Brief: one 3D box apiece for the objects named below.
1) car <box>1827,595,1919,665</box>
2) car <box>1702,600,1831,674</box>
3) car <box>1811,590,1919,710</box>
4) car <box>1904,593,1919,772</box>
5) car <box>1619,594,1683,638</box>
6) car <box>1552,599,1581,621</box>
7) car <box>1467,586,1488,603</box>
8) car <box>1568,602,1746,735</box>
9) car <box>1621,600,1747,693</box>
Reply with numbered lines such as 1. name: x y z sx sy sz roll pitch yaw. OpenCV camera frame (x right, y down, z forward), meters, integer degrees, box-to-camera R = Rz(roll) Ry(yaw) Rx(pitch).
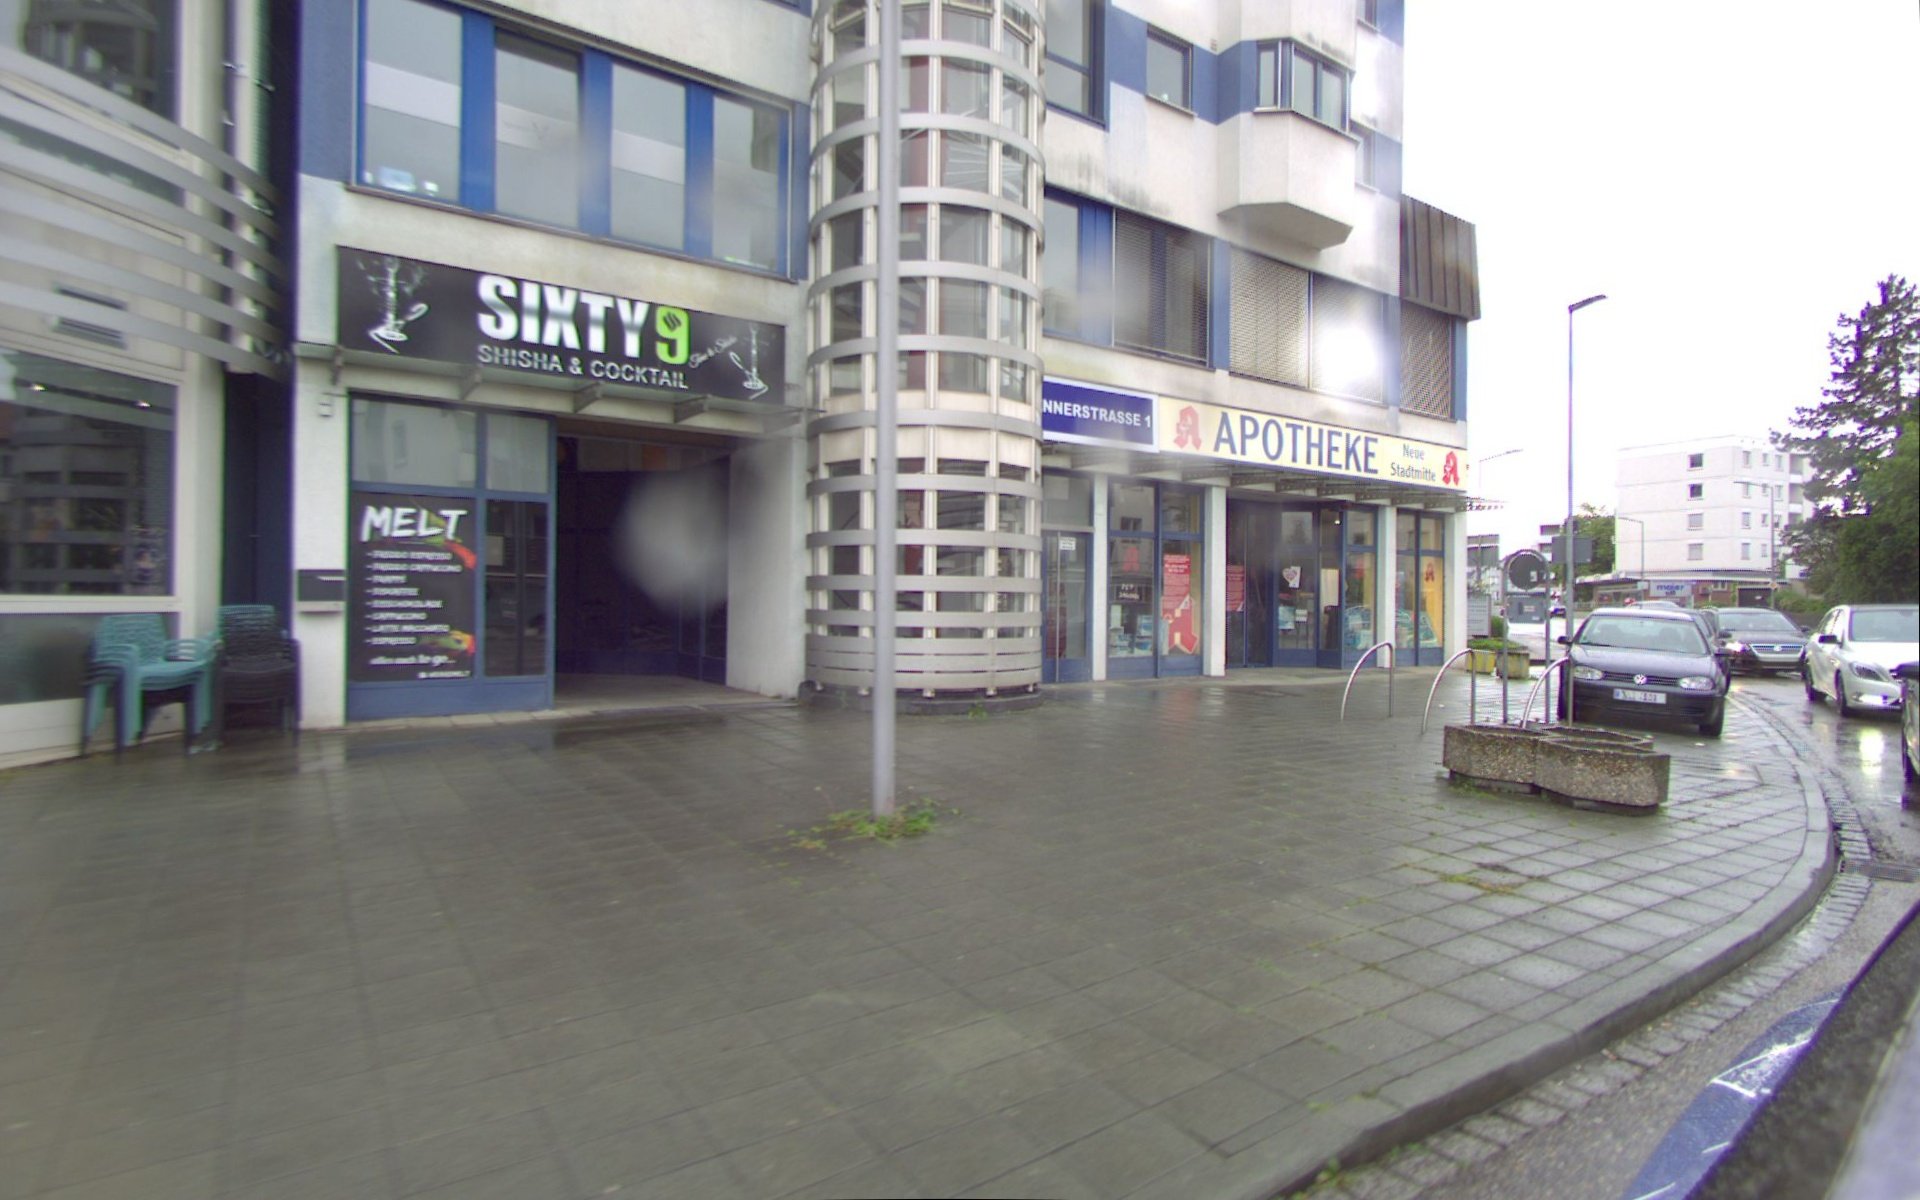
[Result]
1. car: 22.049 0.656 23.749 1.735 1.473 3.777 0 1 27
2. car: 17.504 0.736 22.140 1.788 1.385 3.928 1 1 33
3. car: 13.671 0.663 14.549 1.722 1.547 4.014 0 0 33
4. car: 8.386 0.697 7.569 1.728 1.462 3.988 0 1 40
5. car: 27.738 0.623 40.668 1.986 1.636 3.951 -2 -1 34
6. car: 48.195 0.740 80.512 1.728 1.660 3.962 0 1 27
7. car: 52.821 -0.561 103.277 1.727 1.660 3.966 0 1 25
8. car: 9.050 0.773 13.291 1.644 1.389 3.687 3 2 33
9. car: 12.801 0.740 18.087 1.648 1.442 3.952 1 0 33
